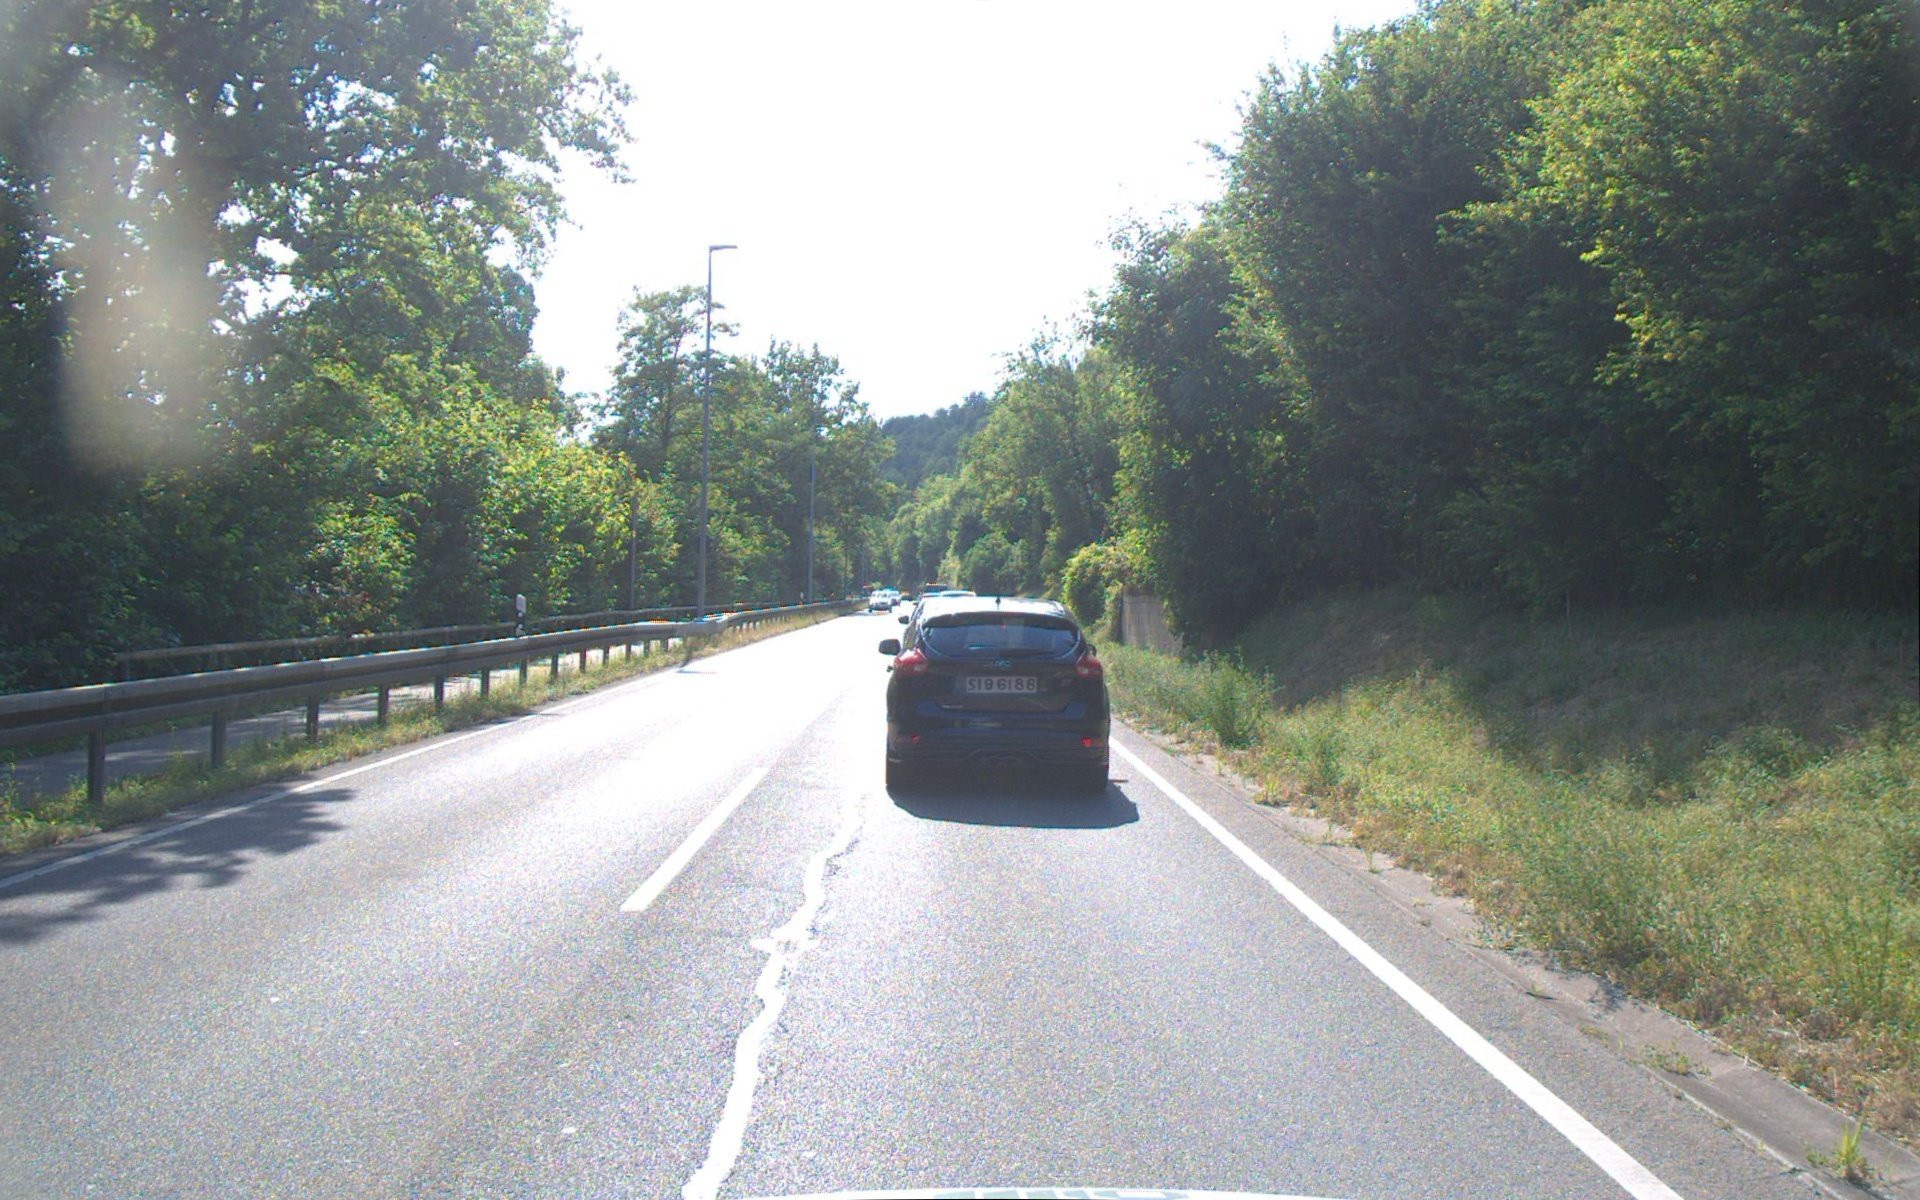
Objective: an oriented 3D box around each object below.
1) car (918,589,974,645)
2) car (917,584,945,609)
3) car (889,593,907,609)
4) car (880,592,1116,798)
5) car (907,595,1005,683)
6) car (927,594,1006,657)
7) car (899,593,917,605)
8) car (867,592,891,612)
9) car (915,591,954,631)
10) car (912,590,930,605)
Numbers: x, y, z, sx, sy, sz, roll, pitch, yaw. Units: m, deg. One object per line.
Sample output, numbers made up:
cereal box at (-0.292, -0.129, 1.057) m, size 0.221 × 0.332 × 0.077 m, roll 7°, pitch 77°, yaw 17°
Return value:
car at (-0.437, 0.481, 49.672) m, size 1.597 × 1.624 × 3.999 m, roll 0°, pitch 0°, yaw -1°
car at (-2.176, -0.281, 122.081) m, size 1.826 × 1.812 × 3.997 m, roll 0°, pitch 0°, yaw -4°
car at (-5.941, 0.116, 159.347) m, size 1.647 × 1.489 × 4.196 m, roll 1°, pitch 0°, yaw -1°
car at (0.257, 0.692, 14.013) m, size 1.704 × 1.482 × 3.999 m, roll 1°, pitch 0°, yaw -1°
car at (-0.041, 0.641, 29.492) m, size 1.627 × 1.443 × 4.000 m, roll 0°, pitch 0°, yaw 1°
car at (0.129, 0.564, 39.376) m, size 1.768 × 1.416 × 3.999 m, roll 0°, pitch 0°, yaw -1°
car at (-7.072, -0.153, 224.671) m, size 1.956 × 1.545 × 3.993 m, roll 0°, pitch 0°, yaw -8°
car at (-5.788, 0.151, 118.463) m, size 1.590 × 1.401 × 4.046 m, roll 0°, pitch 0°, yaw -1°
car at (-1.063, 0.458, 69.829) m, size 1.597 × 1.624 × 3.999 m, roll 0°, pitch 0°, yaw -1°
car at (-3.959, -0.267, 169.381) m, size 1.782 × 1.545 × 3.999 m, roll 0°, pitch 0°, yaw -1°
